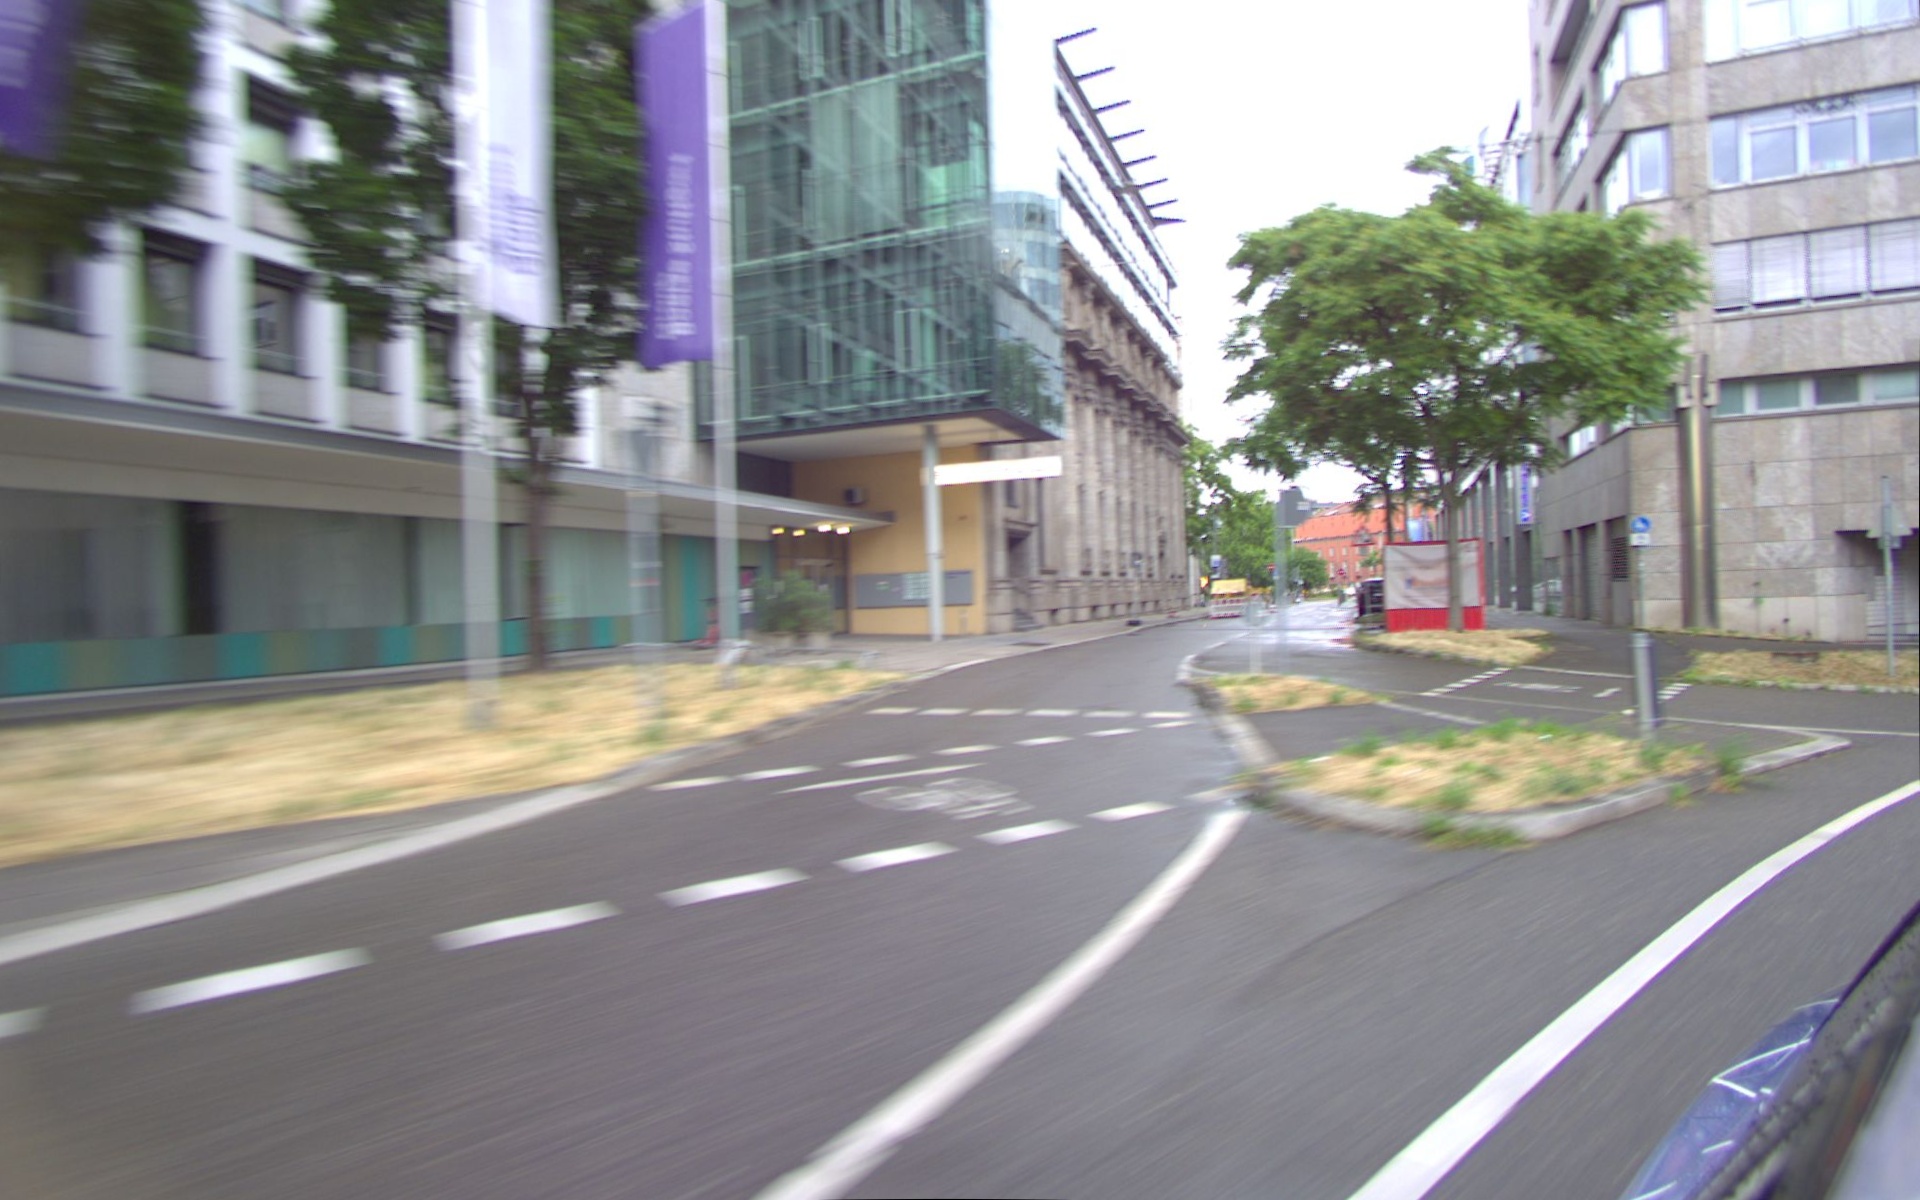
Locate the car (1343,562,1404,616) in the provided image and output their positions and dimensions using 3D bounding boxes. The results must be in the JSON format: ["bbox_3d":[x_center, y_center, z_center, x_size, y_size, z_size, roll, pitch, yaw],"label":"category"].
[{"bbox_3d":[17.565,-0.456,42.887,1.981,2.106,3.962,-3,0,28],"label":"car"}]
